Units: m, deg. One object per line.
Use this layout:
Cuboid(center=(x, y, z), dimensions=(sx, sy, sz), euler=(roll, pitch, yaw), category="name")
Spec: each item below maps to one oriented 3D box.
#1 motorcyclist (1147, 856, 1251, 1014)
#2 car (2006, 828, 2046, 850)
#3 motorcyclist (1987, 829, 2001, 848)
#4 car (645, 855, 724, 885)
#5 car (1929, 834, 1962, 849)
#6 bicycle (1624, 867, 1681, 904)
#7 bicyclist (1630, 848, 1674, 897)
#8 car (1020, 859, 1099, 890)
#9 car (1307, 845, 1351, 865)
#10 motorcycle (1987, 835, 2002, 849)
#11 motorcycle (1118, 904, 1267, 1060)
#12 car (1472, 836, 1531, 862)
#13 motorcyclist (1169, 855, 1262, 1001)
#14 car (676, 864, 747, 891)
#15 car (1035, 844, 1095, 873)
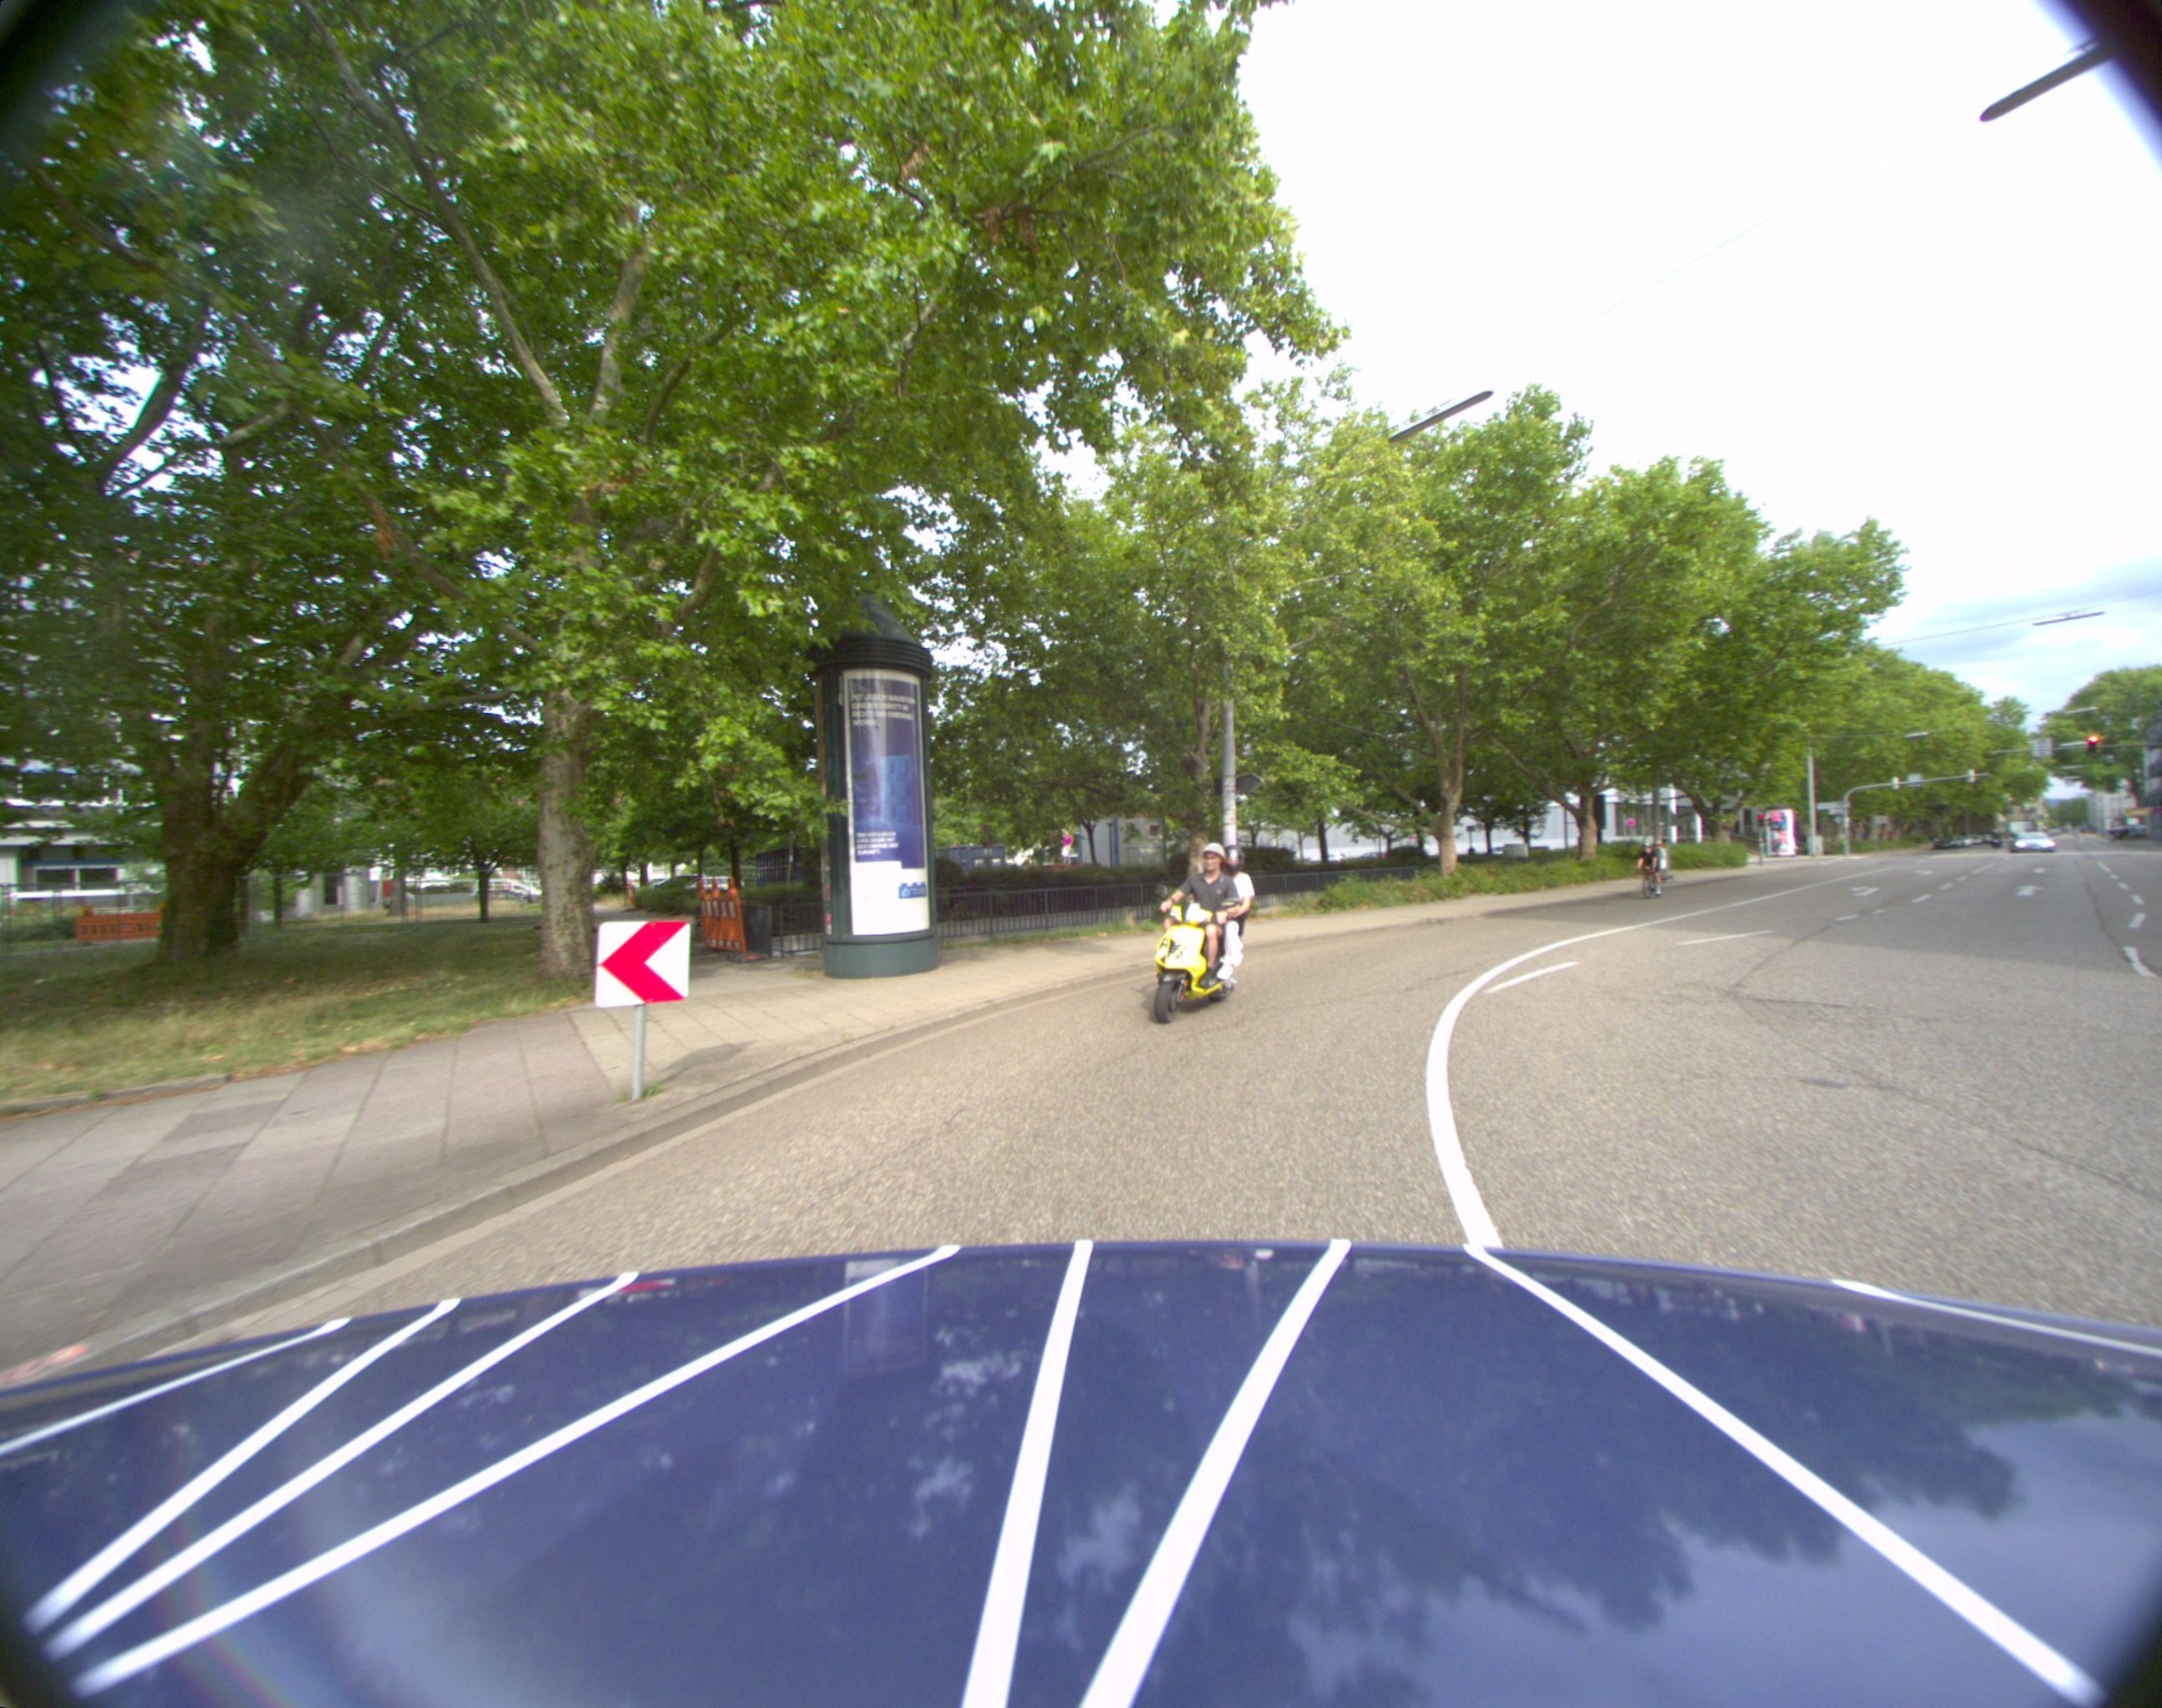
Cuboid(center=(1.157, 0.738, 7.364), dimensions=(0.780, 1.419, 0.765), euler=(-1, 0, 27), category="motorcyclist")
Cuboid(center=(65.810, -1.034, 52.936), dimensions=(3.827, 1.430, 1.670), euler=(-1, 0, -39), category="car")
Cuboid(center=(84.892, -1.448, 70.657), dimensions=(1.115, 1.650, 0.780), euler=(-1, -2, -41), category="motorcyclist")
Cuboid(center=(-29.250, 1.149, 56.185), dimensions=(4.782, 2.001, 1.995), euler=(-1, -2, -41), category="car")
Cuboid(center=(97.953, -1.472, 86.078), dimensions=(4.279, 1.532, 1.995), euler=(-2, -2, -36), category="car")
Cuboid(center=(17.687, 0.970, 23.497), dimensions=(2.412, 1.009, 0.769), euler=(-1, -2, -38), category="bicycle")
Cuboid(center=(17.655, 0.572, 23.497), dimensions=(0.916, 1.438, 0.783), euler=(-2, -2, -37), category="bicyclist")
Cuboid(center=(-1.314, 1.279, 48.187), dimensions=(4.782, 1.783, 1.995), euler=(-1, -2, -41), category="car")
Cuboid(center=(26.704, 0.115, 81.851), dimensions=(3.990, 2.001, 2.004), euler=(-4, -2, 43), category="car")
Cuboid(center=(84.913, -1.099, 70.656), dimensions=(1.996, 1.170, 0.780), euler=(0, -2, -41), category="motorcycle")
Cuboid(center=(1.153, 1.132, 7.371), dimensions=(0.780, 1.171, 1.996), euler=(-1, 0, 28), category="motorcycle")
Cuboid(center=(36.821, -0.431, 66.528), dimensions=(2.004, 2.001, 3.990), euler=(-1, -2, -43), category="car")
Cuboid(center=(1.404, 0.730, 7.898), dimensions=(0.780, 1.419, 0.690), euler=(-1, 0, 25), category="motorcyclist")
Cuboid(center=(-24.560, 1.546, 50.495), dimensions=(3.797, 1.571, 1.995), euler=(-1, -2, -41), category="car")
Cuboid(center=(-1.520, 0.402, 74.539), dimensions=(5.507, 2.597, 2.437), euler=(-1, -2, -41), category="car")
